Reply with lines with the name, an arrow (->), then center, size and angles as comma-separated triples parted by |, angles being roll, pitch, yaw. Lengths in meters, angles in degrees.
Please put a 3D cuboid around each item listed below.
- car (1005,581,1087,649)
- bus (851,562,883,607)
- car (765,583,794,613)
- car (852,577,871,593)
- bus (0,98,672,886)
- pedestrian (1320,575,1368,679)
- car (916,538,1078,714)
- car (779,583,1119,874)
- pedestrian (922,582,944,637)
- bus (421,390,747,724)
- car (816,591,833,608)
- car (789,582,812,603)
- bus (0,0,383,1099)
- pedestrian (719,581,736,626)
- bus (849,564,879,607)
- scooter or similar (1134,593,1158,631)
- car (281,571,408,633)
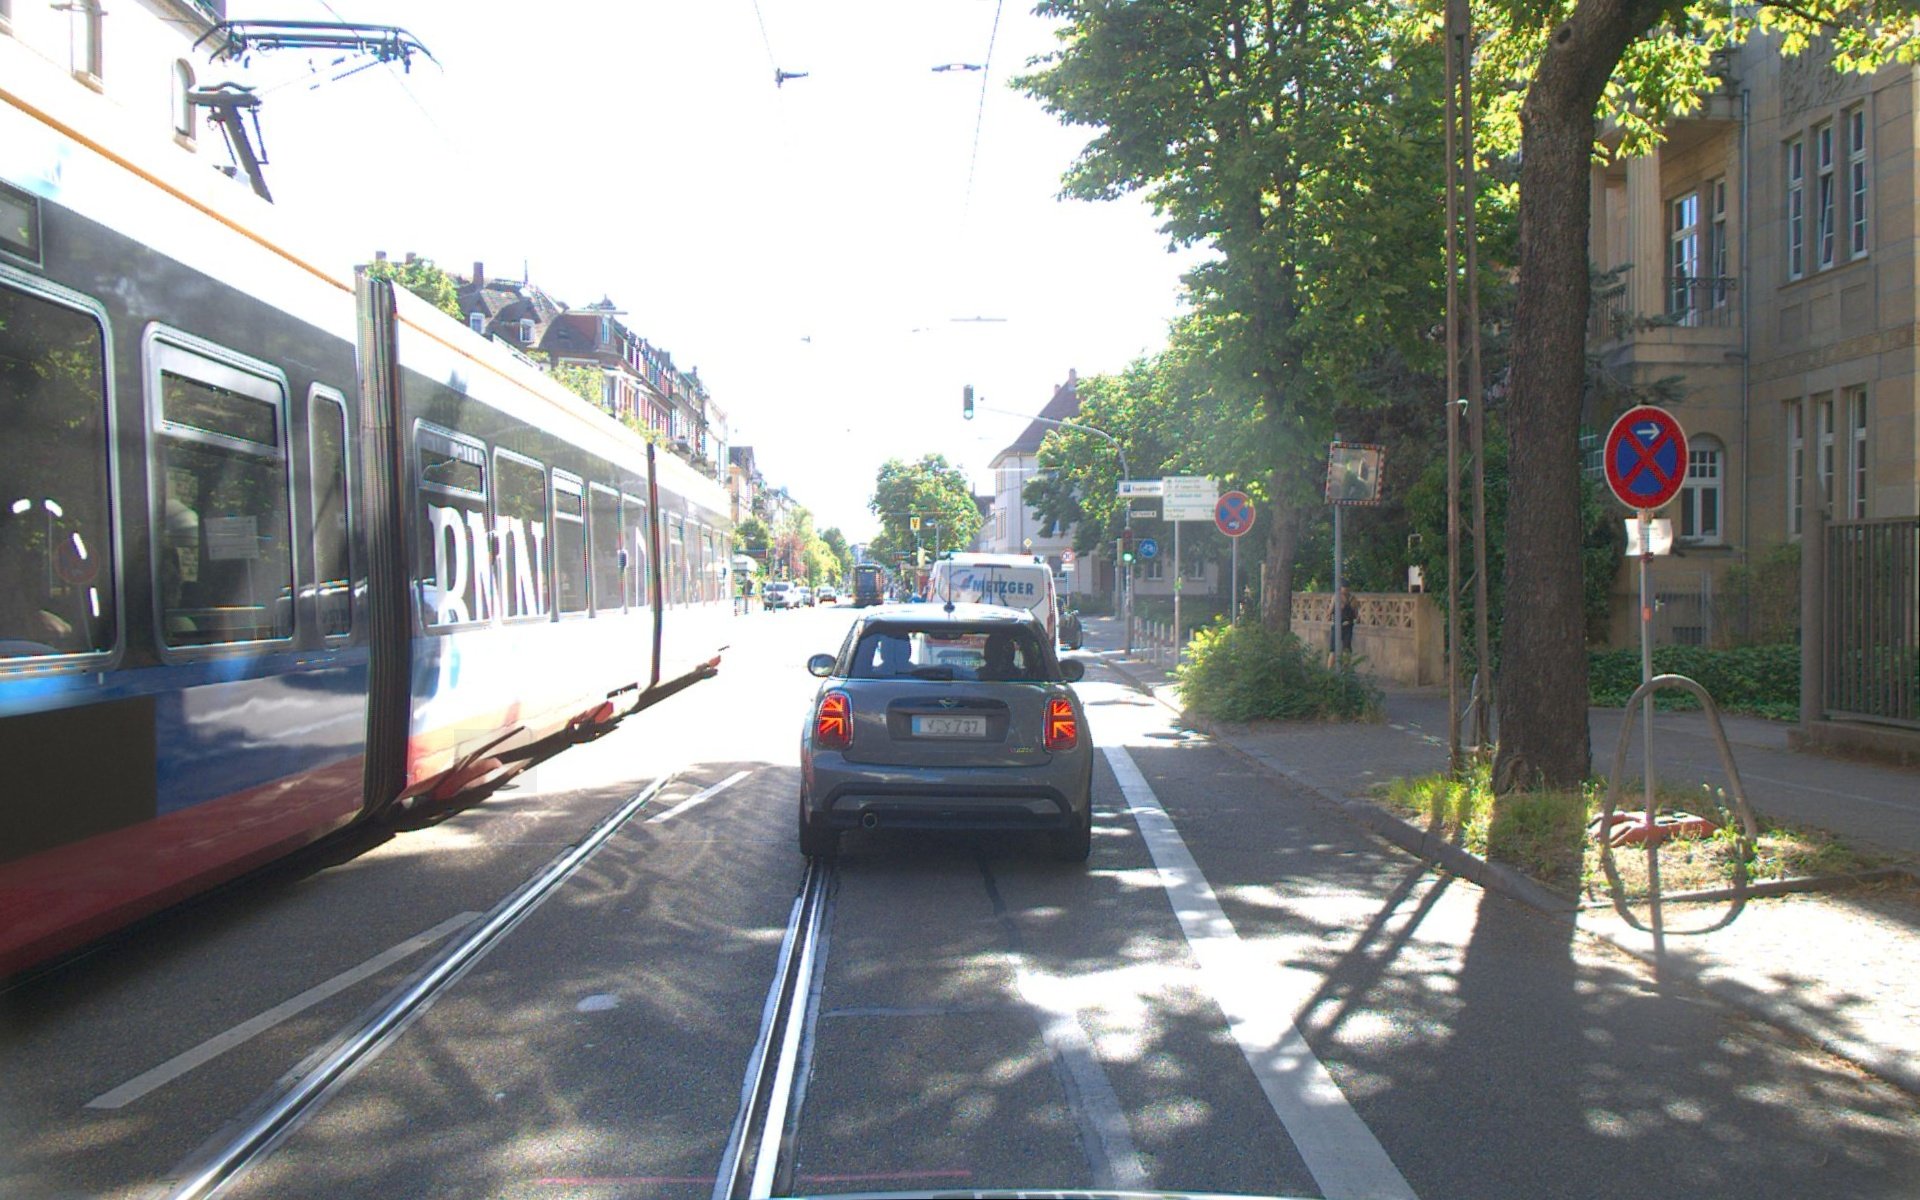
car -> 2.280, 0.396, 44.749 | 1.953, 1.736, 3.999 | 1, 0, -1
bus -> -7.664, -1.262, 135.861 | 2.339, 3.557, 7.376 | 1, 0, -5
car -> -12.955, -0.123, 118.871 | 1.954, 2.049, 5.024 | 1, 0, -5
car -> -10.043, -1.534, 168.964 | 1.827, 1.591, 3.996 | 1, 0, -4
bus -> -4.505, -0.510, 13.693 | 2.803, 3.843, 11.176 | 1, 0, -3
pedestrian -> 6.396, 0.444, 27.565 | 0.580, 1.700, 0.646 | -2, 0, -1
car -> 0.450, 0.346, 23.972 | 2.075, 2.247, 4.943 | 1, 0, -1
car -> -0.084, 0.689, 10.763 | 1.778, 1.514, 3.999 | 1, 0, -1
pedestrian -> -1.019, 0.359, 62.122 | 0.779, 2.049, 0.740 | 1, -1, -2
bus -> -5.150, -0.472, 25.349 | 2.793, 3.843, 12.189 | 1, 0, -3
car -> -13.789, -0.037, 168.526 | 1.741, 1.646, 3.996 | 1, 0, -4
car -> -12.961, -0.594, 134.465 | 1.741, 1.646, 3.996 | 1, 0, -4
bus -> -3.942, -0.549, 2.241 | 2.803, 3.843, 11.490 | 1, 0, -3
pedestrian -> -9.524, 0.142, 67.781 | 0.569, 1.826, 0.604 | 0, 0, -19
bus -> -8.313, -1.205, 143.263 | 2.339, 3.557, 7.376 | 1, 0, -5
scooter or similar -> 6.611, 0.424, 58.928 | 0.662, 1.333, 1.328 | 1, 0, -2
car -> -21.145, 0.067, 56.807 | 3.910, 2.049, 1.997 | 1, 0, 28
